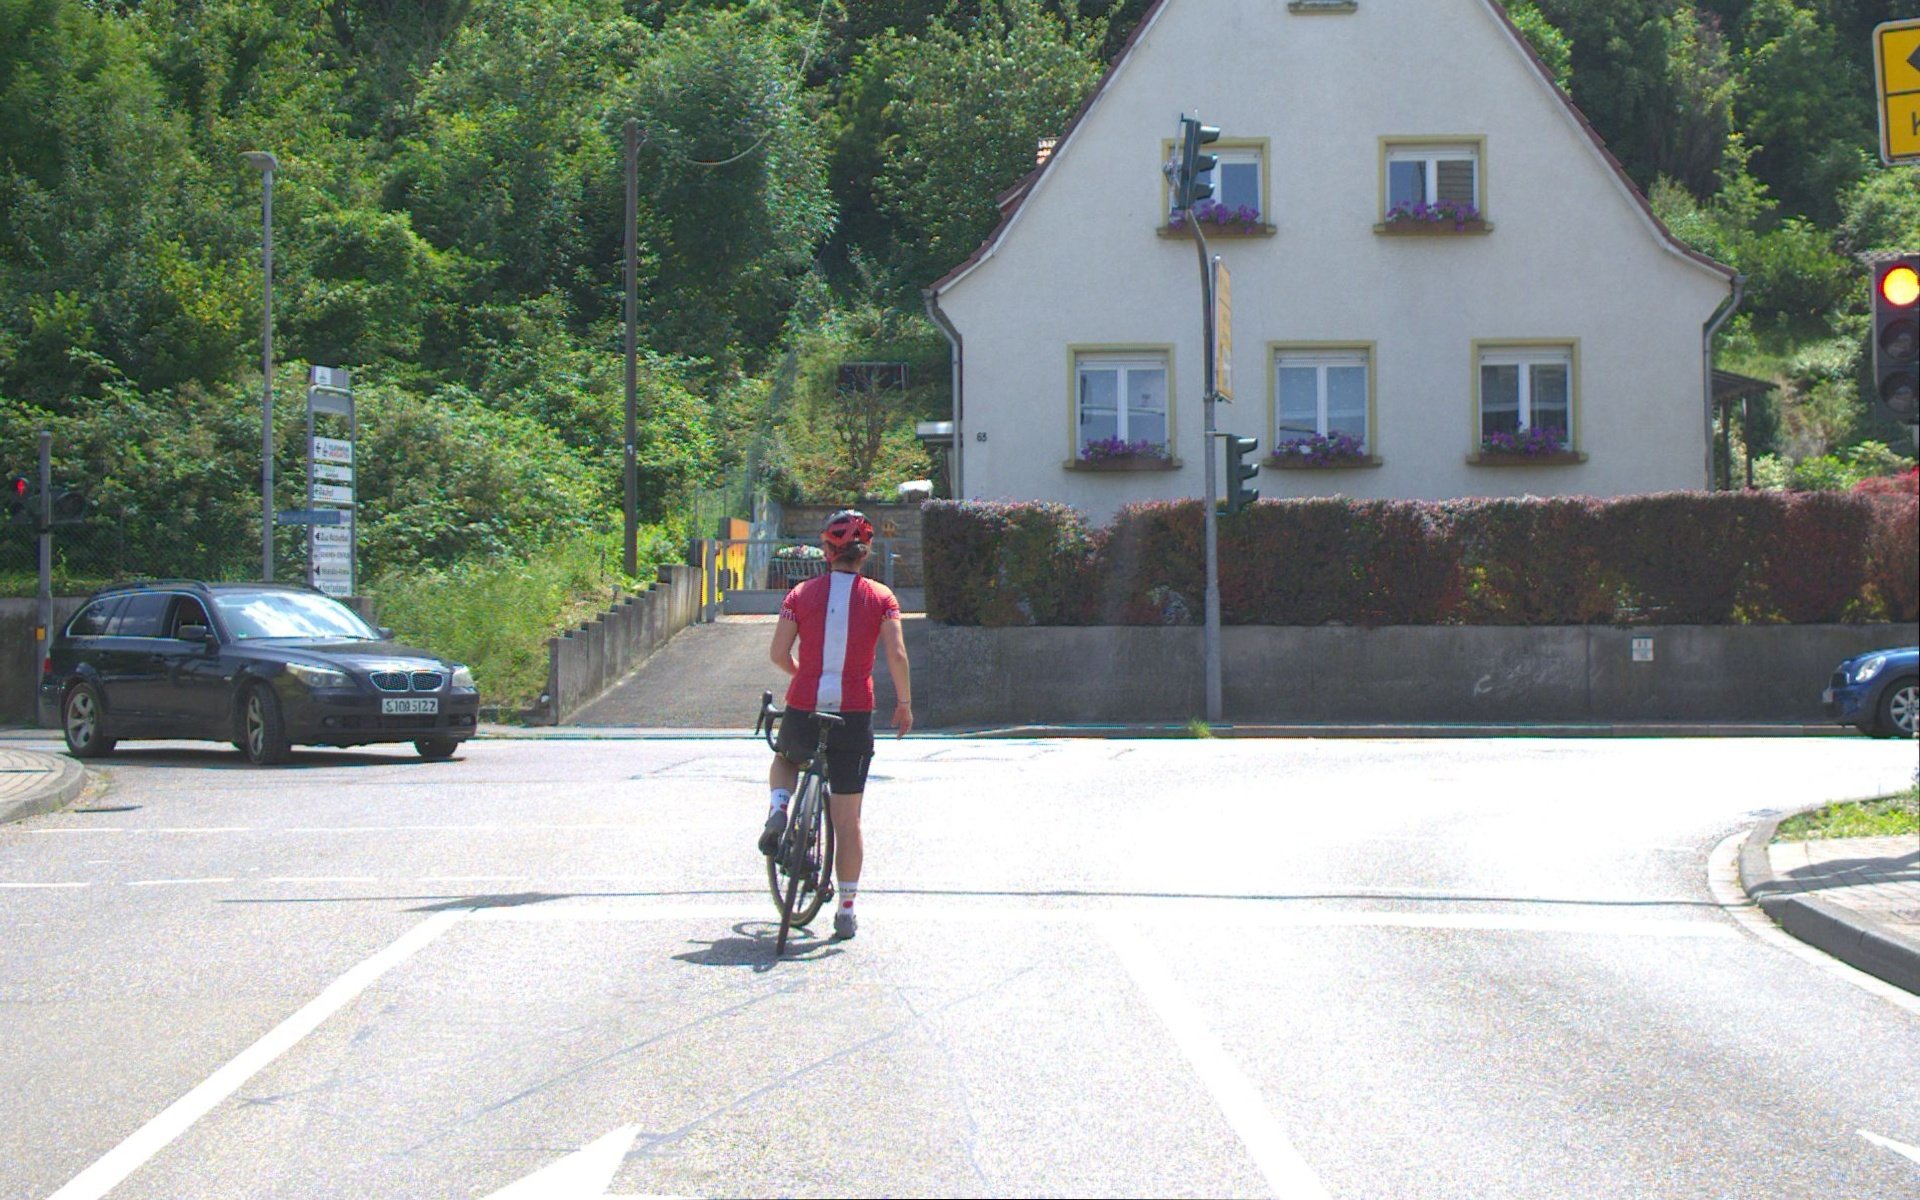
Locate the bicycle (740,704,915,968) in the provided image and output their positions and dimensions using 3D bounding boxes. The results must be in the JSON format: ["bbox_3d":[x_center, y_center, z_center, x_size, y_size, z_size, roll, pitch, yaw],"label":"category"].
[{"bbox_3d":[-0.505,0.897,13.515,0.630,0.902,1.657,1,0,-1],"label":"bicycle"}]

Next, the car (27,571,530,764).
[{"bbox_3d":[-5.729,0.539,28.521,1.864,1.437,4.668,-2,1,-43],"label":"car"}]

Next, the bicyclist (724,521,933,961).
[{"bbox_3d":[-0.510,0.534,13.517,0.760,1.659,0.869,1,0,-1],"label":"bicyclist"}]

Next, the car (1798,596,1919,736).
[{"bbox_3d":[10.446,0.696,34.719,3.609,1.358,1.644,1,-3,3],"label":"car"}]
